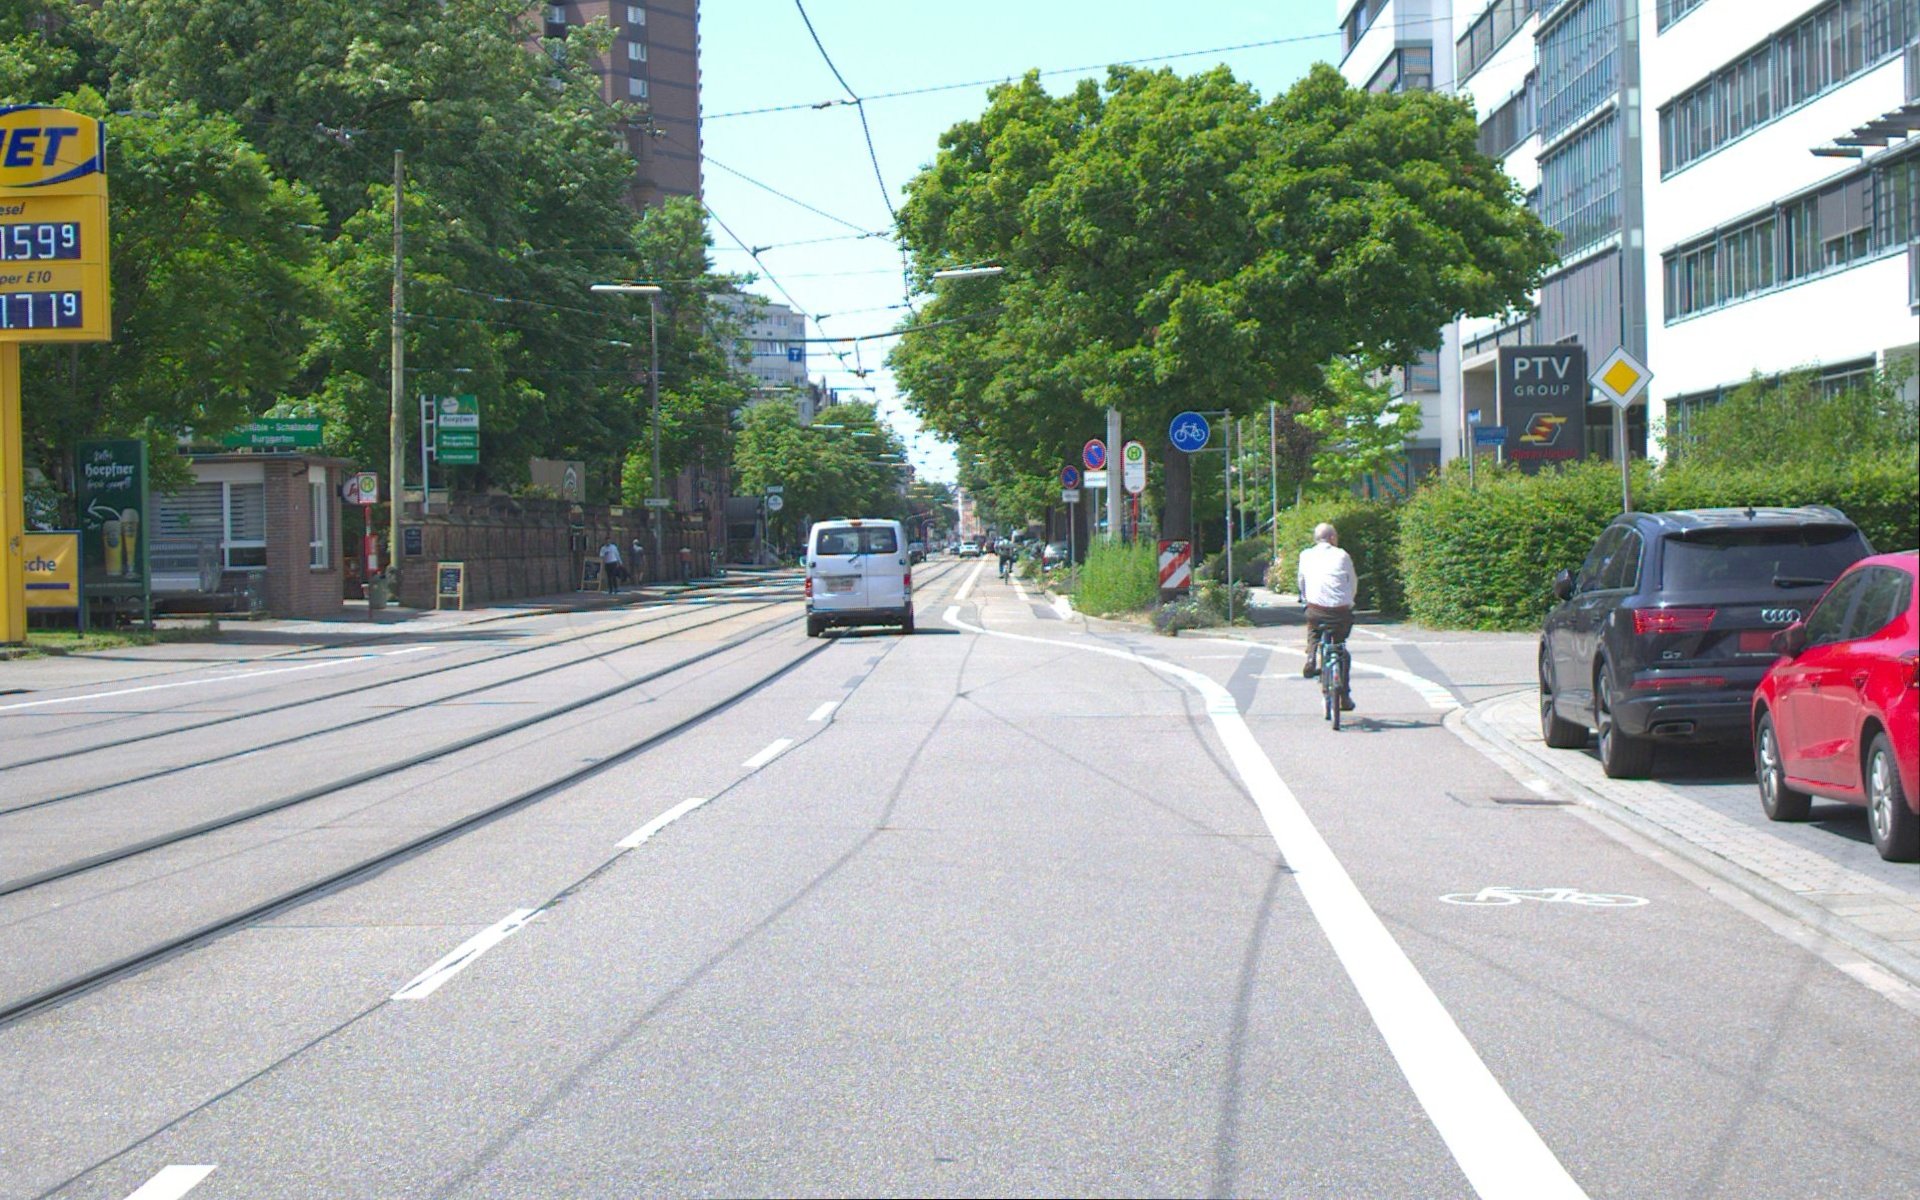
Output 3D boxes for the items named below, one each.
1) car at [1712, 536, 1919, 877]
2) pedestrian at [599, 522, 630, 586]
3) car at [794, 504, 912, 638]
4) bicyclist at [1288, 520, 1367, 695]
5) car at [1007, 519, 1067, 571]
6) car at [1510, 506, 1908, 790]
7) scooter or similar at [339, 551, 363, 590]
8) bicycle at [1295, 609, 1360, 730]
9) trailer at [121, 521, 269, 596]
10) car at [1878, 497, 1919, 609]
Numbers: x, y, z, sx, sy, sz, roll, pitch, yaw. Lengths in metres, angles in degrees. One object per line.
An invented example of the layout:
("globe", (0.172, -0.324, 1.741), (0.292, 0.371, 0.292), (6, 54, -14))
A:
("car", (5.098, 0.423, 17.350), (1.712, 1.448, 4.072), (-3, 1, 1))
("pedestrian", (-11.148, -1.477, 110.943), (0.863, 2.007, 0.646), (-3, 0, -2))
("car", (-1.705, -0.509, 55.833), (1.752, 2.006, 4.001), (-2, 2, 0))
("bicyclist", (2.974, 0.053, 27.893), (0.591, 1.392, 0.841), (-1, 1, 4))
("car", (2.366, -1.699, 106.302), (1.585, 1.484, 3.456), (-3, 0, -2))
("car", (4.977, 0.233, 23.520), (1.863, 1.681, 5.000), (-2, 1, 3))
("scooter or similar", (-13.612, -0.653, 76.858), (0.431, 0.860, 0.500), (-1, 0, -2))
("bicycle", (2.976, 0.550, 27.911), (0.466, 0.884, 2.048), (-1, 1, 5))
("trailer", (-15.647, -0.847, 70.370), (2.727, 1.521, 1.329), (0, 0, 2))
("car", (12.864, -0.630, 40.230), (3.799, 1.270, 1.556), (-2, 1, 2))
